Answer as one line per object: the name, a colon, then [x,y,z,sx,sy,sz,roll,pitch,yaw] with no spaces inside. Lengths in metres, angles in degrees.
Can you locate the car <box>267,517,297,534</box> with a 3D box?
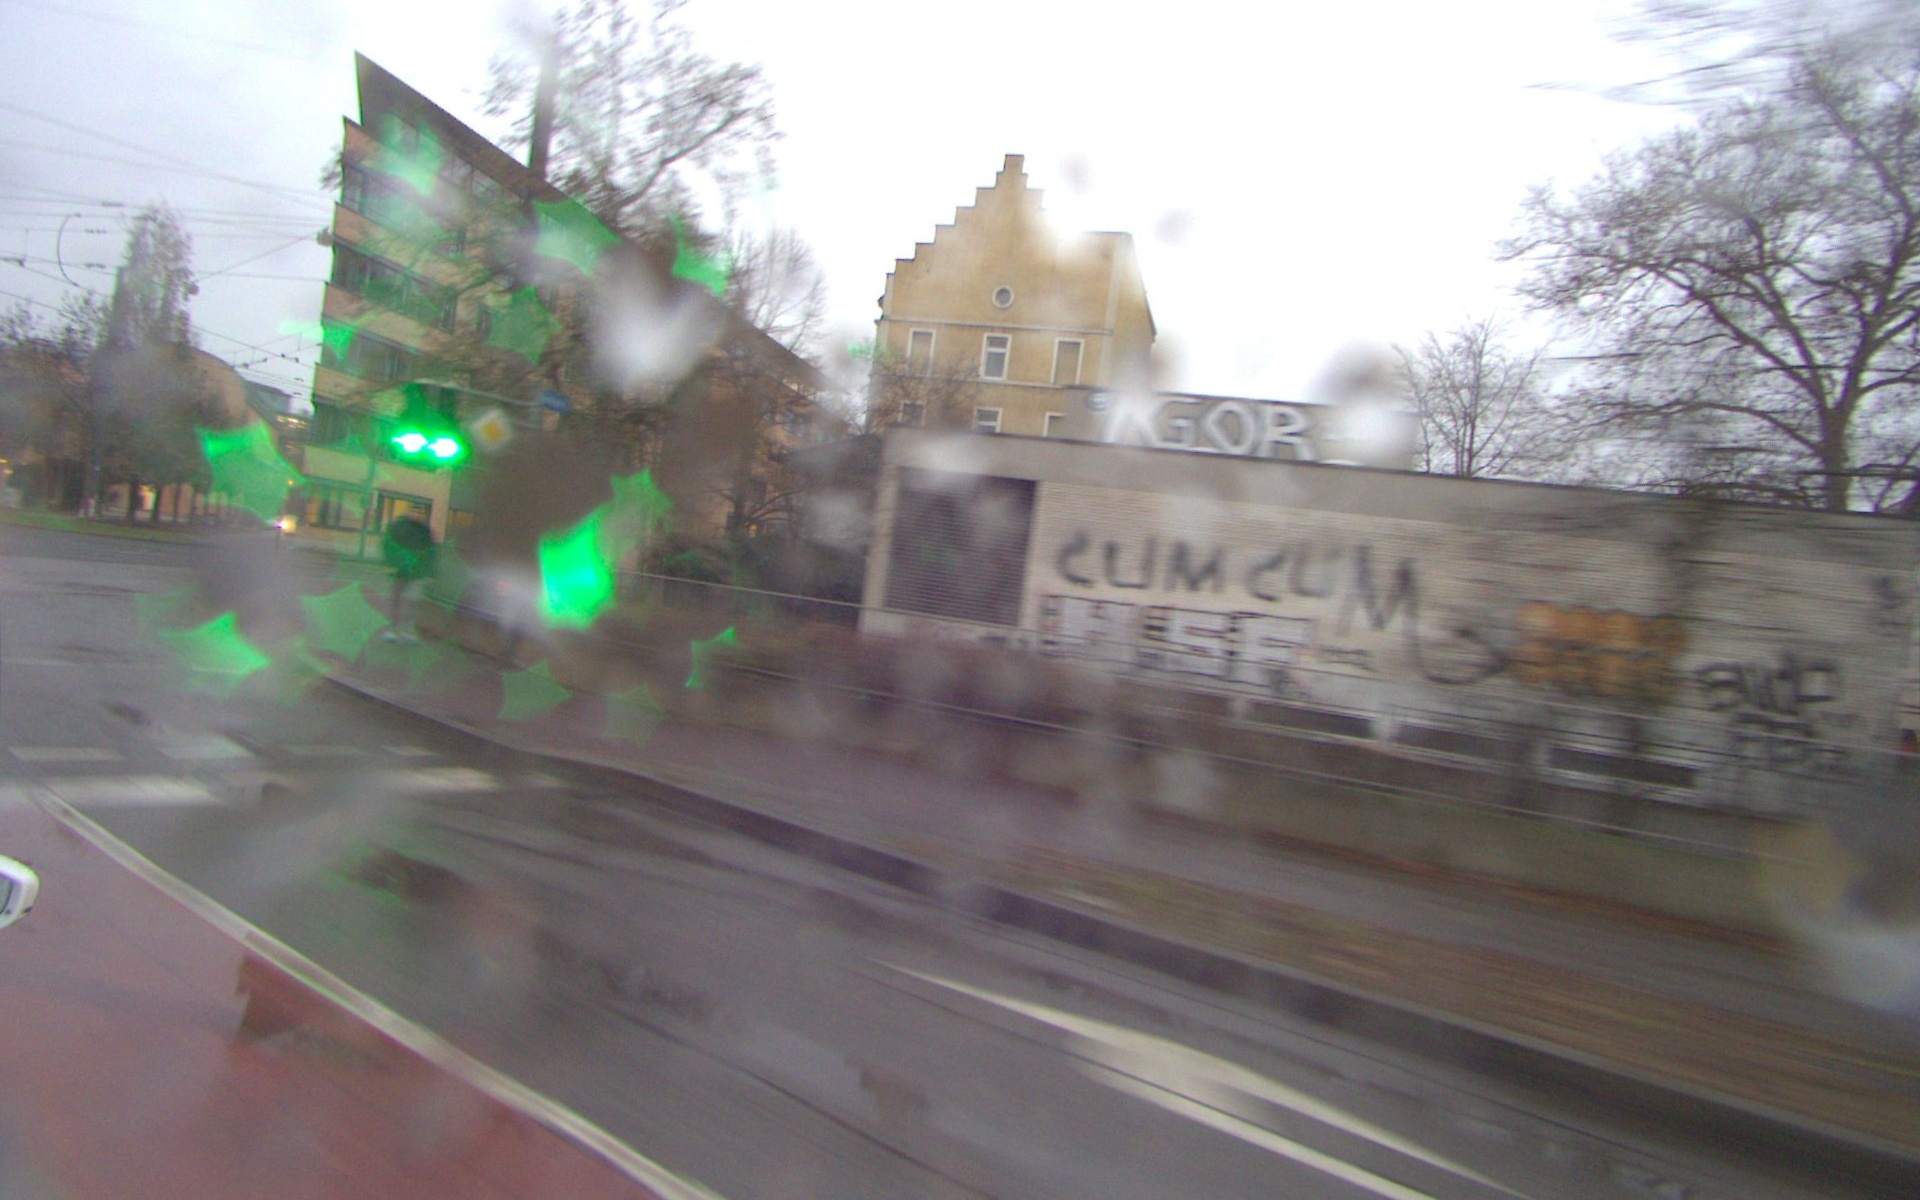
car: [-57.822,-6.351,85.848,1.654,1.195,3.679,8,0,-29]

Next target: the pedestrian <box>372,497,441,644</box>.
pedestrian: [-7.347,-0.393,13.342,0.673,1.866,0.570,10,8,41]
